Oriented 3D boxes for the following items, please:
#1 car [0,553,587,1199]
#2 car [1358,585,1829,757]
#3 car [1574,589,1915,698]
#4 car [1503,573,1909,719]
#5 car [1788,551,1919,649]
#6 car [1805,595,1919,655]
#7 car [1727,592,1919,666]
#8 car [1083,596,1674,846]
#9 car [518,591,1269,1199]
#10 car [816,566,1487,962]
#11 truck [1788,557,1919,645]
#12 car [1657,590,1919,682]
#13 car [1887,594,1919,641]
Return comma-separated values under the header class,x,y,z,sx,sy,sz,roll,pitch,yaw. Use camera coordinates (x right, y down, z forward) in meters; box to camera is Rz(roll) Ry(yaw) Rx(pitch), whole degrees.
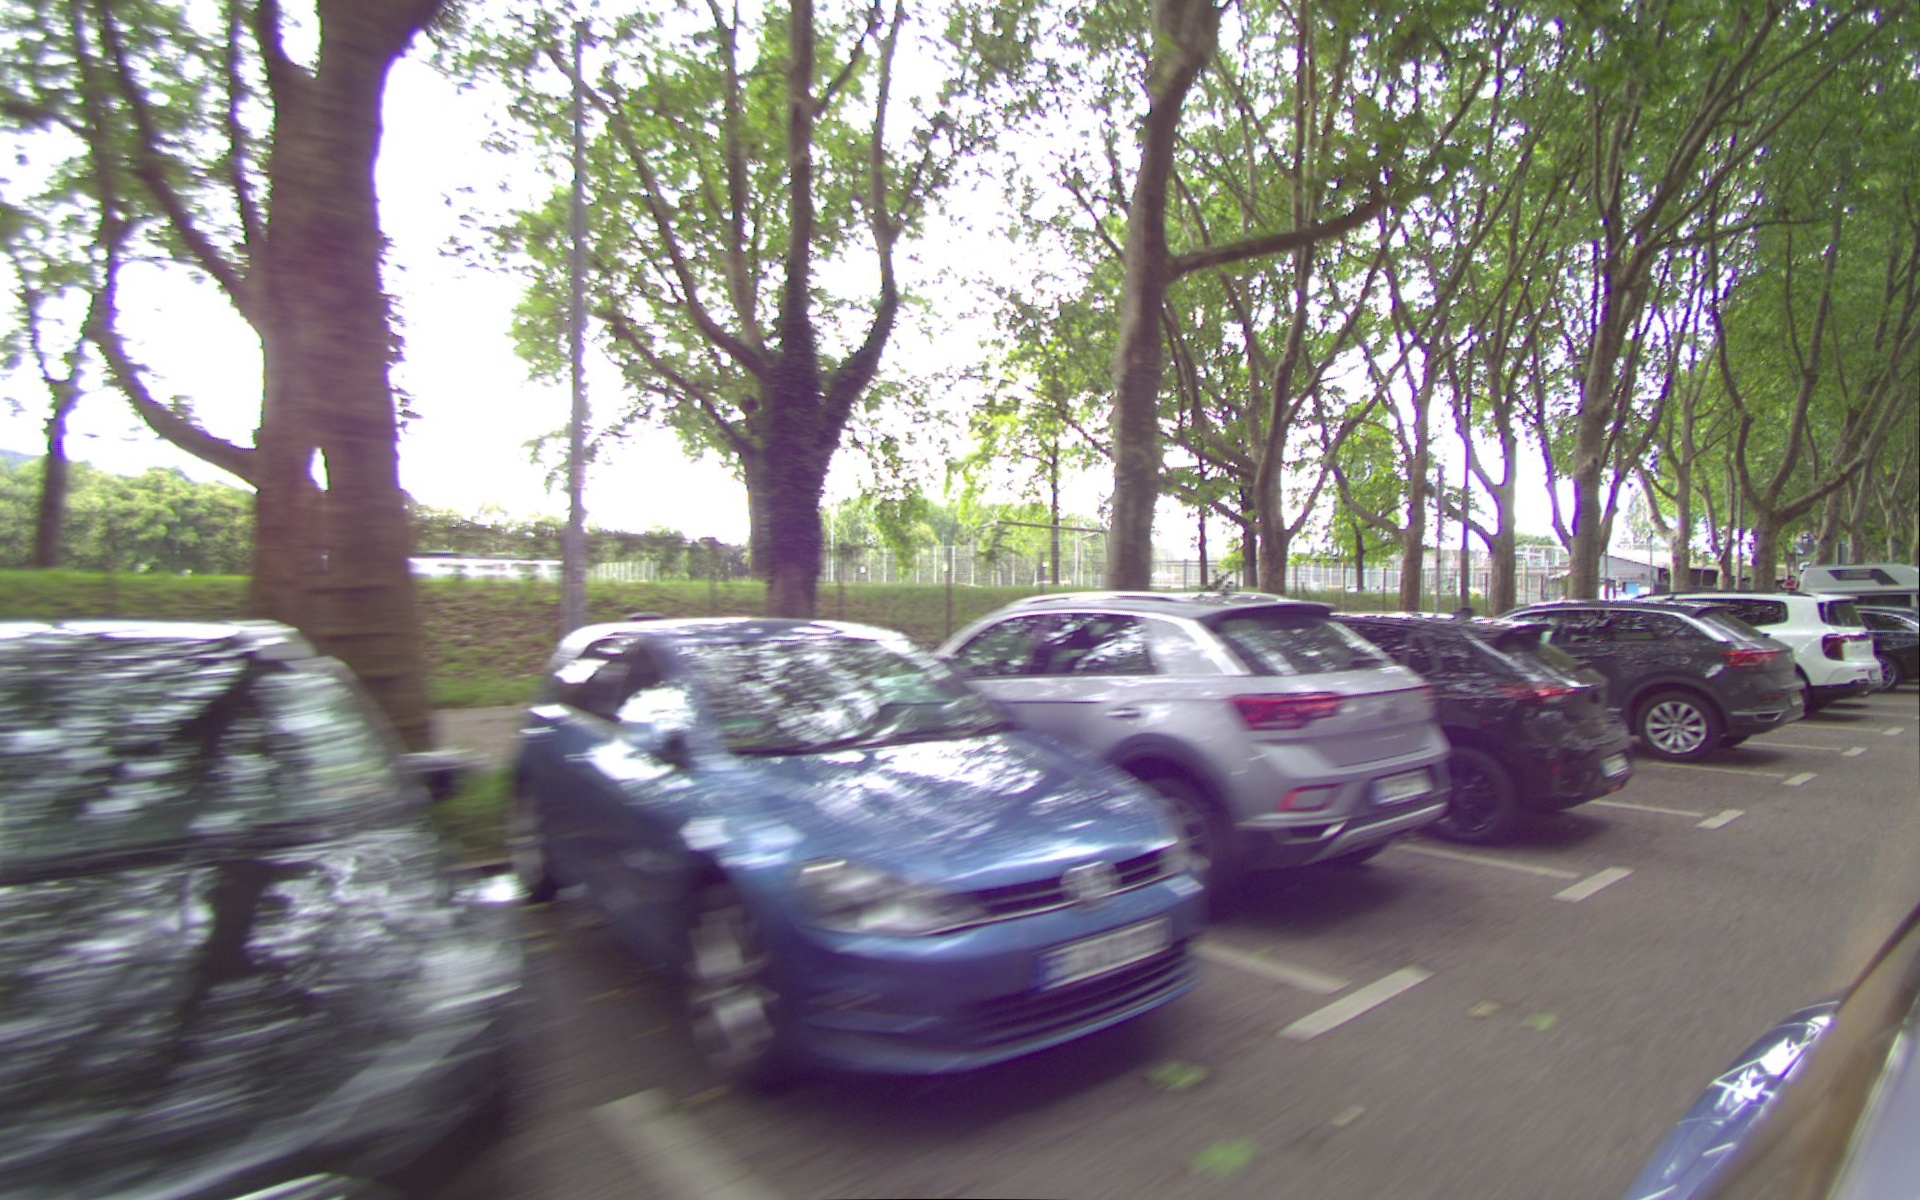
class,x,y,z,sx,sy,sz,roll,pitch,yaw
car,-2.653,0.686,2.947,1.582,1.470,4.218,0,0,-41
car,6.607,0.630,10.917,1.665,1.505,3.993,0,0,-41
car,12.881,0.646,16.877,1.668,1.577,4.197,0,0,-36
car,10.532,0.574,14.621,1.767,1.777,4.396,0,-1,-37
car,27.097,0.002,28.708,1.922,2.724,5.240,0,-1,-38
car,23.725,0.603,24.966,1.672,1.447,4.129,-1,-2,-37
car,19.884,0.606,22.640,1.783,1.545,4.050,0,-1,-41
car,2.919,0.690,7.708,1.665,1.406,3.833,0,0,-41
car,-0.728,0.724,4.459,1.661,1.474,3.841,0,0,-33
car,0.866,0.685,6.179,1.665,1.628,3.833,0,-1,-41
truck,30.687,0.016,32.261,2.059,2.749,6.309,0,-1,-38
car,15.669,0.614,18.549,1.673,1.545,4.509,0,-1,-41
car,34.746,0.566,34.486,1.770,1.639,4.352,0,-1,-36
